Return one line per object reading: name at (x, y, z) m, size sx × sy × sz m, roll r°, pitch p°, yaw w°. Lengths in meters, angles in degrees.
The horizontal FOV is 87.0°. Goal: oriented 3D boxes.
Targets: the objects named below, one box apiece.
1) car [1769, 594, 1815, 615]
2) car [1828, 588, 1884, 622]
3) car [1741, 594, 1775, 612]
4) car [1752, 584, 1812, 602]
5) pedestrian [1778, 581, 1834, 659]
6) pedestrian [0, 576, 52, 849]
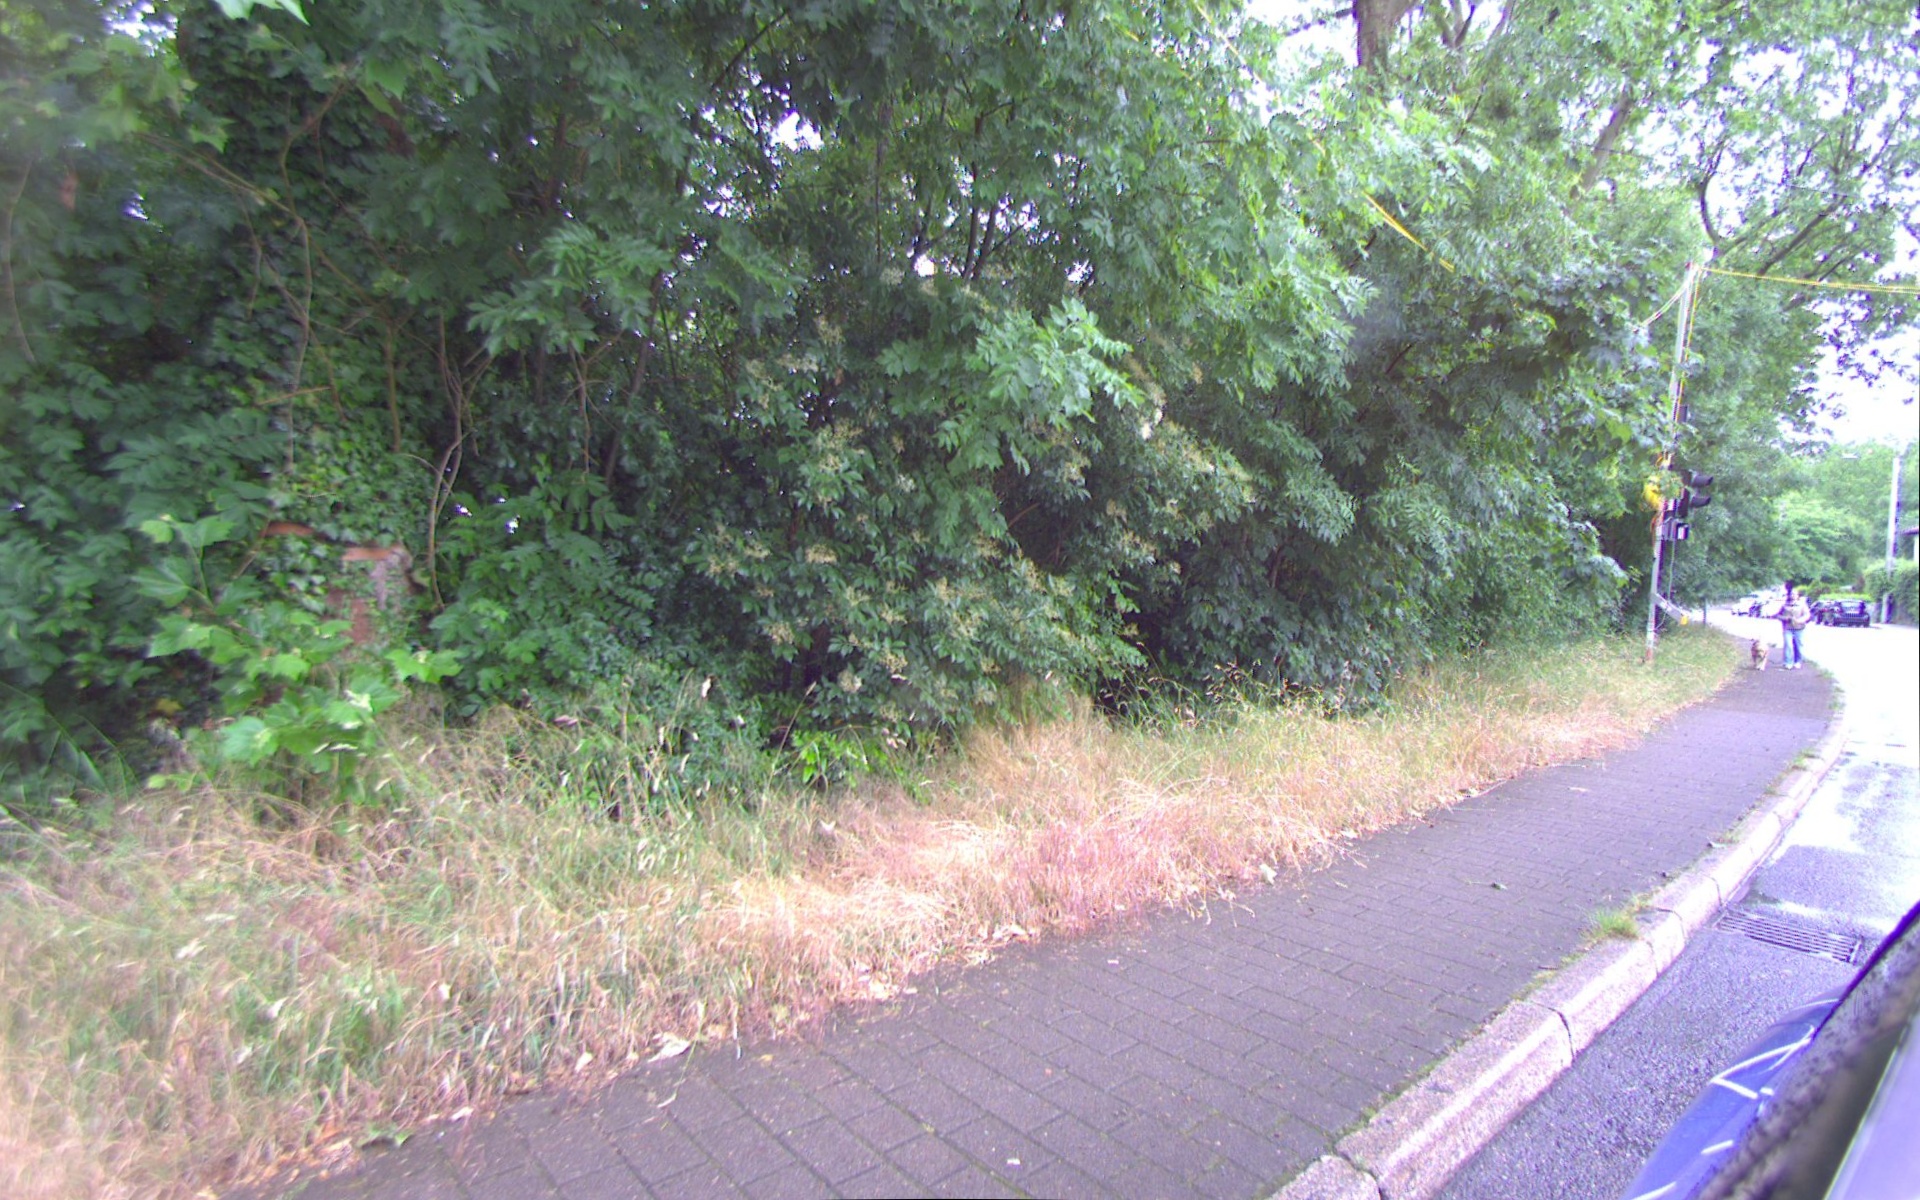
car at (60.739, 0.296, 73.924) m, size 2.055 × 1.504 × 4.509 m, roll 1°, pitch 1°, yaw 33°
car at (51.053, 0.281, 57.711) m, size 1.869 × 1.848 × 4.075 m, roll 1°, pitch 1°, yaw 35°
car at (64.932, 0.219, 82.377) m, size 1.676 × 1.445 × 3.734 m, roll 1°, pitch 1°, yaw 31°
car at (86.024, -0.701, 105.965) m, size 4.536 × 1.805 × 2.000 m, roll 1°, pitch 0°, yaw 1°
pedestrian at (16.758, 0.387, 20.056) m, size 0.771 × 1.518 × 0.734 m, roll 0°, pitch -1°, yaw -42°
pedestrian at (-6.511, 0.722, 6.634) m, size 0.679 × 1.762 × 0.661 m, roll 1°, pitch 0°, yaw 32°
